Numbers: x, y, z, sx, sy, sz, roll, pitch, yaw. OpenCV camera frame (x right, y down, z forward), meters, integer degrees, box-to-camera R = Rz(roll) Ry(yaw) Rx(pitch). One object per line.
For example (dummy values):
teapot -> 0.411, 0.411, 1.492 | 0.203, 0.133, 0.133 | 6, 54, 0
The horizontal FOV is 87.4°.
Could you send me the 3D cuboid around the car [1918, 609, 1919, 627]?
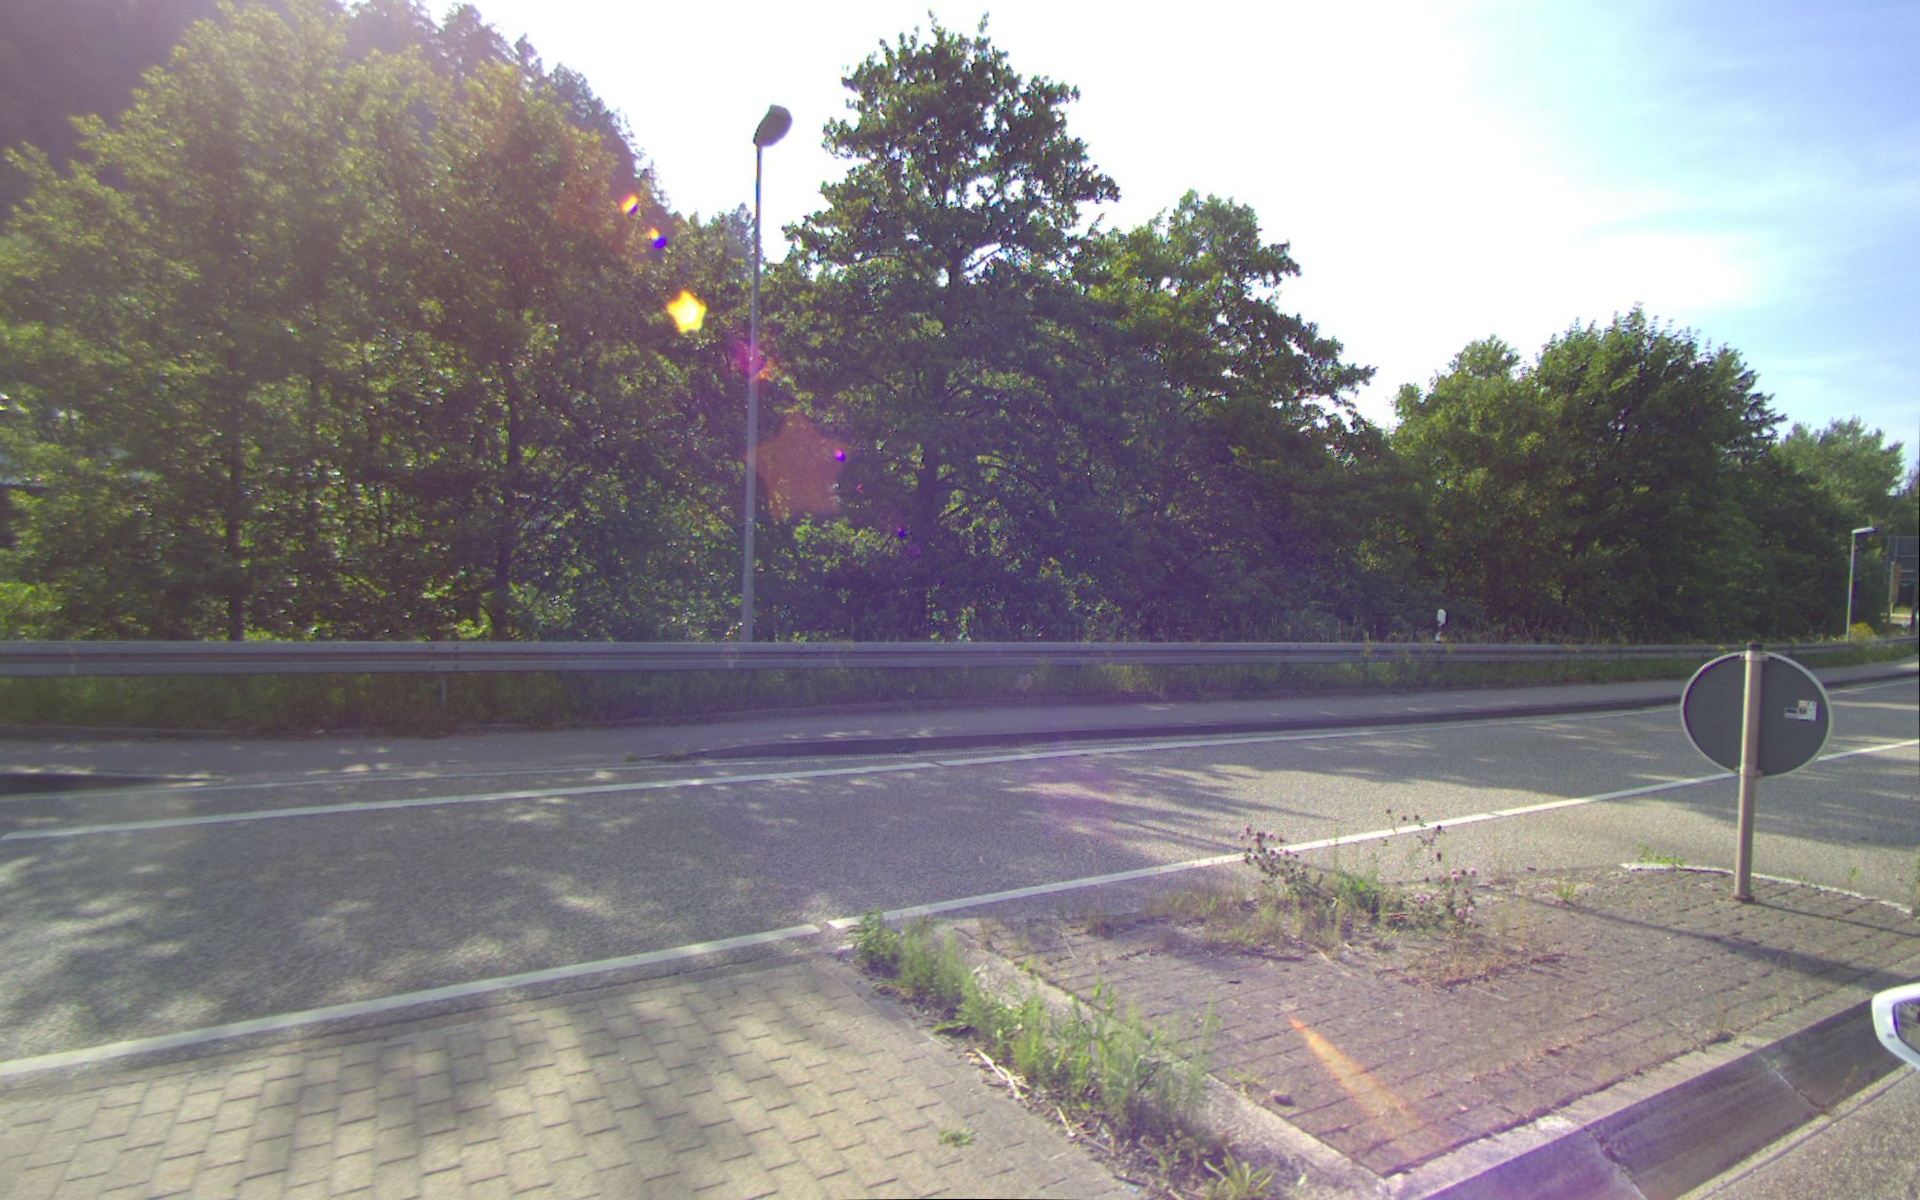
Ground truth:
car -> 97.776, 1.869, 100.155 | 2.030, 1.835, 3.997 | 1, 1, 24
